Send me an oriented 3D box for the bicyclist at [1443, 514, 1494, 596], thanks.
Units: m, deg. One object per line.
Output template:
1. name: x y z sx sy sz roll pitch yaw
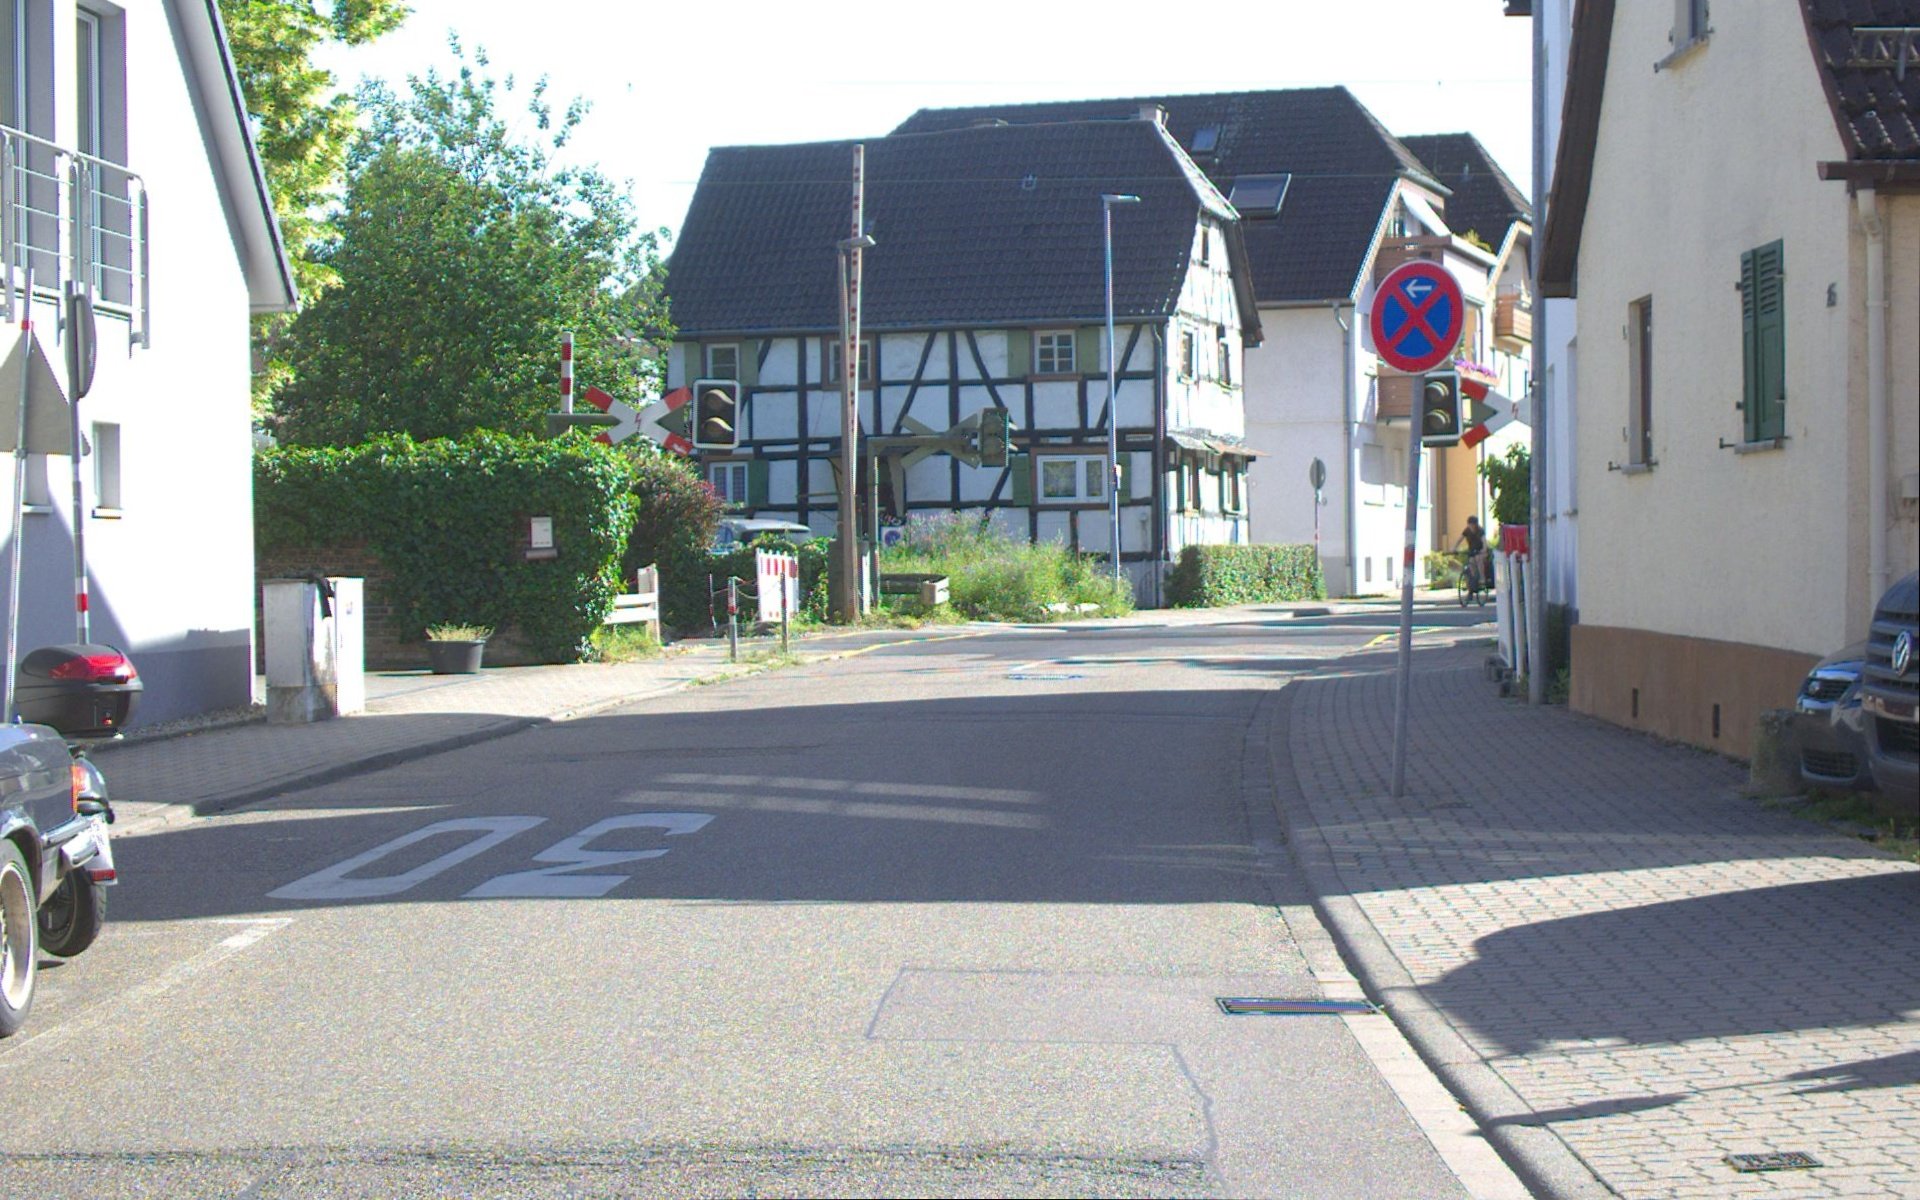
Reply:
1. bicyclist: 9.684 -0.850 65.443 0.849 1.536 0.872 -1 0 13

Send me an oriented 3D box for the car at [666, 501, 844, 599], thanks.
1. car: -3.478 -0.840 57.748 1.683 1.559 4.001 1 1 -23

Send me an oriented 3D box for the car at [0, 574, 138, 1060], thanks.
1. car: -3.711 0.666 9.071 1.844 1.401 5.037 -2 1 0

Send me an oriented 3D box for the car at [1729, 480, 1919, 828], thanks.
1. car: 5.958 0.144 15.763 4.373 1.482 1.840 -2 0 -2

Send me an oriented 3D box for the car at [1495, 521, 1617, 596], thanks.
1. car: 13.166 -0.929 75.763 1.633 1.501 3.848 -3 0 25

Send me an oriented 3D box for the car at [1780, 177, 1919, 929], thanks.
1. car: 6.246 -0.268 12.757 5.802 2.646 1.968 -2 0 -4

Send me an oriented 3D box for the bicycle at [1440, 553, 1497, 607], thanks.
1. bicycle: 9.684 -0.373 65.475 0.884 1.002 2.061 -1 0 13

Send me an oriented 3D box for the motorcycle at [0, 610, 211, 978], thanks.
1. motorcycle: -3.604 0.665 12.674 1.993 1.227 0.625 0 2 44
